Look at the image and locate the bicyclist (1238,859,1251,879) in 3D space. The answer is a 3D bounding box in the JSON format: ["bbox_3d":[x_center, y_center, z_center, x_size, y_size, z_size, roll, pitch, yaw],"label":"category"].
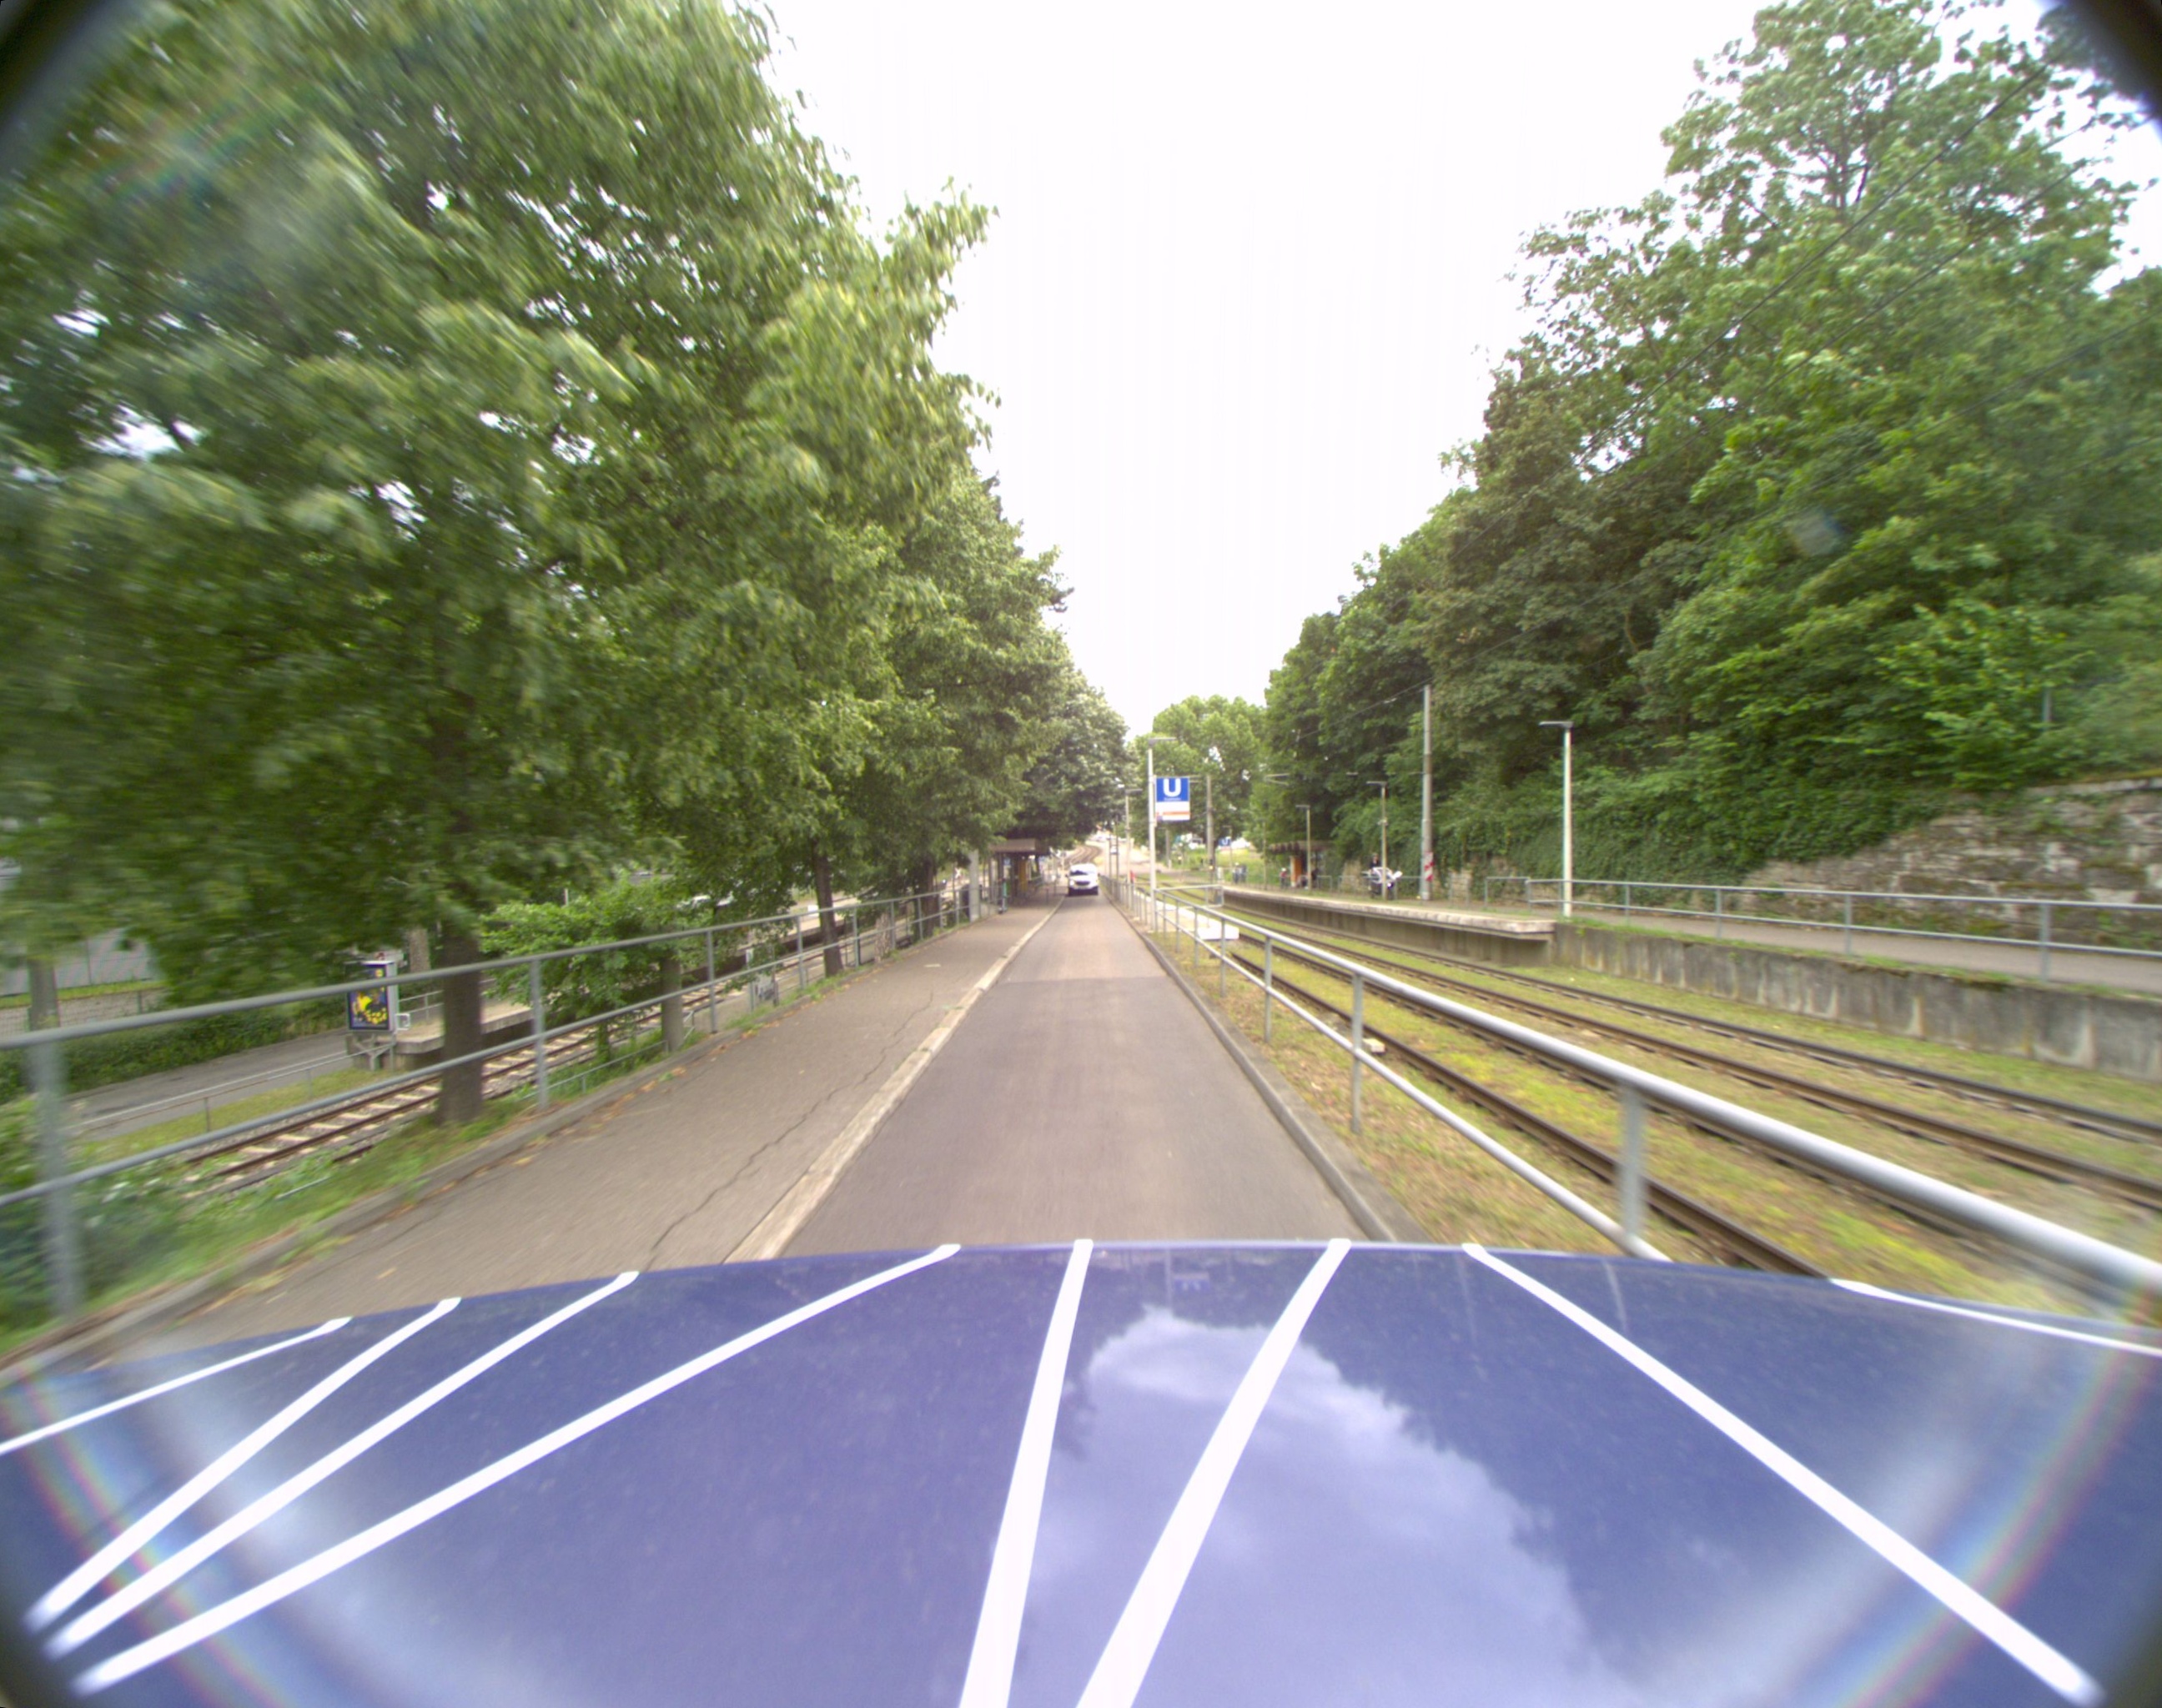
[{"bbox_3d":[12.264,1.139,57.064,0.732,1.434,0.840,-2,-1,-1],"label":"bicyclist"}]

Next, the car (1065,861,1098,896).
[{"bbox_3d":[0.097,1.423,45.868,1.810,1.910,4.478,-2,0,1],"label":"car"}]

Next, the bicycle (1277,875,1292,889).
[{"bbox_3d":[12.196,1.672,45.560,0.451,0.776,1.565,-2,-1,1],"label":"bicycle"}]

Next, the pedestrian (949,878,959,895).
[{"bbox_3d":[-12.936,3.308,77.251,0.752,1.666,0.684,-2,1,12],"label":"pedestrian"}]

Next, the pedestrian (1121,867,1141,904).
[{"bbox_3d":[2.054,1.318,31.551,0.739,1.493,0.627,-2,-1,1],"label":"pedestrian"}]

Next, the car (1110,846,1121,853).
[{"bbox_3d":[7.774,-1.017,170.366,1.997,1.648,4.002,-2,0,7],"label":"car"}]

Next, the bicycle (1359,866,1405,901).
[{"bbox_3d":[11.485,1.096,29.082,0.752,1.232,2.868,-3,-1,4],"label":"bicycle"}]

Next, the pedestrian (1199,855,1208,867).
[{"bbox_3d":[16.863,0.963,104.865,1.116,1.724,0.694,-2,1,11],"label":"pedestrian"}]

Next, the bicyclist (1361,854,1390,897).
[{"bbox_3d":[11.541,0.821,29.766,0.706,1.618,1.033,-3,-1,4],"label":"bicyclist"}]

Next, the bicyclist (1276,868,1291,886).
[{"bbox_3d":[12.148,1.353,45.573,0.691,1.046,0.745,-2,-1,0],"label":"bicyclist"}]

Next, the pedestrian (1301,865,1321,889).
[{"bbox_3d":[13.480,1.356,44.592,0.823,1.367,0.774,-2,1,-5],"label":"pedestrian"}]

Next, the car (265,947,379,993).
[{"bbox_3d":[-34.227,5.199,34.304,3.992,1.692,2.002,-2,1,18],"label":"car"}]

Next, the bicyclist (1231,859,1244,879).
[{"bbox_3d":[11.519,1.116,55.820,0.746,1.422,0.908,-2,-2,3],"label":"bicyclist"}]

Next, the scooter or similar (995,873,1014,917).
[{"bbox_3d":[-2.587,1.372,25.662,0.431,1.376,1.455,-2,1,0],"label":"scooter or similar"}]

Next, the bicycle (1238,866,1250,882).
[{"bbox_3d":[12.257,1.493,57.070,0.464,1.180,1.940,-2,-2,0],"label":"bicycle"}]

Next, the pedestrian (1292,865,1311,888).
[{"bbox_3d":[13.272,1.337,45.773,0.823,1.315,0.774,-2,1,-5],"label":"pedestrian"}]

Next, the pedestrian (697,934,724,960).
[{"bbox_3d":[-18.653,4.678,38.234,0.778,1.160,0.954,-2,1,7],"label":"pedestrian"}]

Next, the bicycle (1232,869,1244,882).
[{"bbox_3d":[11.545,1.615,55.836,0.479,0.919,1.845,-2,-2,1],"label":"bicycle"}]
